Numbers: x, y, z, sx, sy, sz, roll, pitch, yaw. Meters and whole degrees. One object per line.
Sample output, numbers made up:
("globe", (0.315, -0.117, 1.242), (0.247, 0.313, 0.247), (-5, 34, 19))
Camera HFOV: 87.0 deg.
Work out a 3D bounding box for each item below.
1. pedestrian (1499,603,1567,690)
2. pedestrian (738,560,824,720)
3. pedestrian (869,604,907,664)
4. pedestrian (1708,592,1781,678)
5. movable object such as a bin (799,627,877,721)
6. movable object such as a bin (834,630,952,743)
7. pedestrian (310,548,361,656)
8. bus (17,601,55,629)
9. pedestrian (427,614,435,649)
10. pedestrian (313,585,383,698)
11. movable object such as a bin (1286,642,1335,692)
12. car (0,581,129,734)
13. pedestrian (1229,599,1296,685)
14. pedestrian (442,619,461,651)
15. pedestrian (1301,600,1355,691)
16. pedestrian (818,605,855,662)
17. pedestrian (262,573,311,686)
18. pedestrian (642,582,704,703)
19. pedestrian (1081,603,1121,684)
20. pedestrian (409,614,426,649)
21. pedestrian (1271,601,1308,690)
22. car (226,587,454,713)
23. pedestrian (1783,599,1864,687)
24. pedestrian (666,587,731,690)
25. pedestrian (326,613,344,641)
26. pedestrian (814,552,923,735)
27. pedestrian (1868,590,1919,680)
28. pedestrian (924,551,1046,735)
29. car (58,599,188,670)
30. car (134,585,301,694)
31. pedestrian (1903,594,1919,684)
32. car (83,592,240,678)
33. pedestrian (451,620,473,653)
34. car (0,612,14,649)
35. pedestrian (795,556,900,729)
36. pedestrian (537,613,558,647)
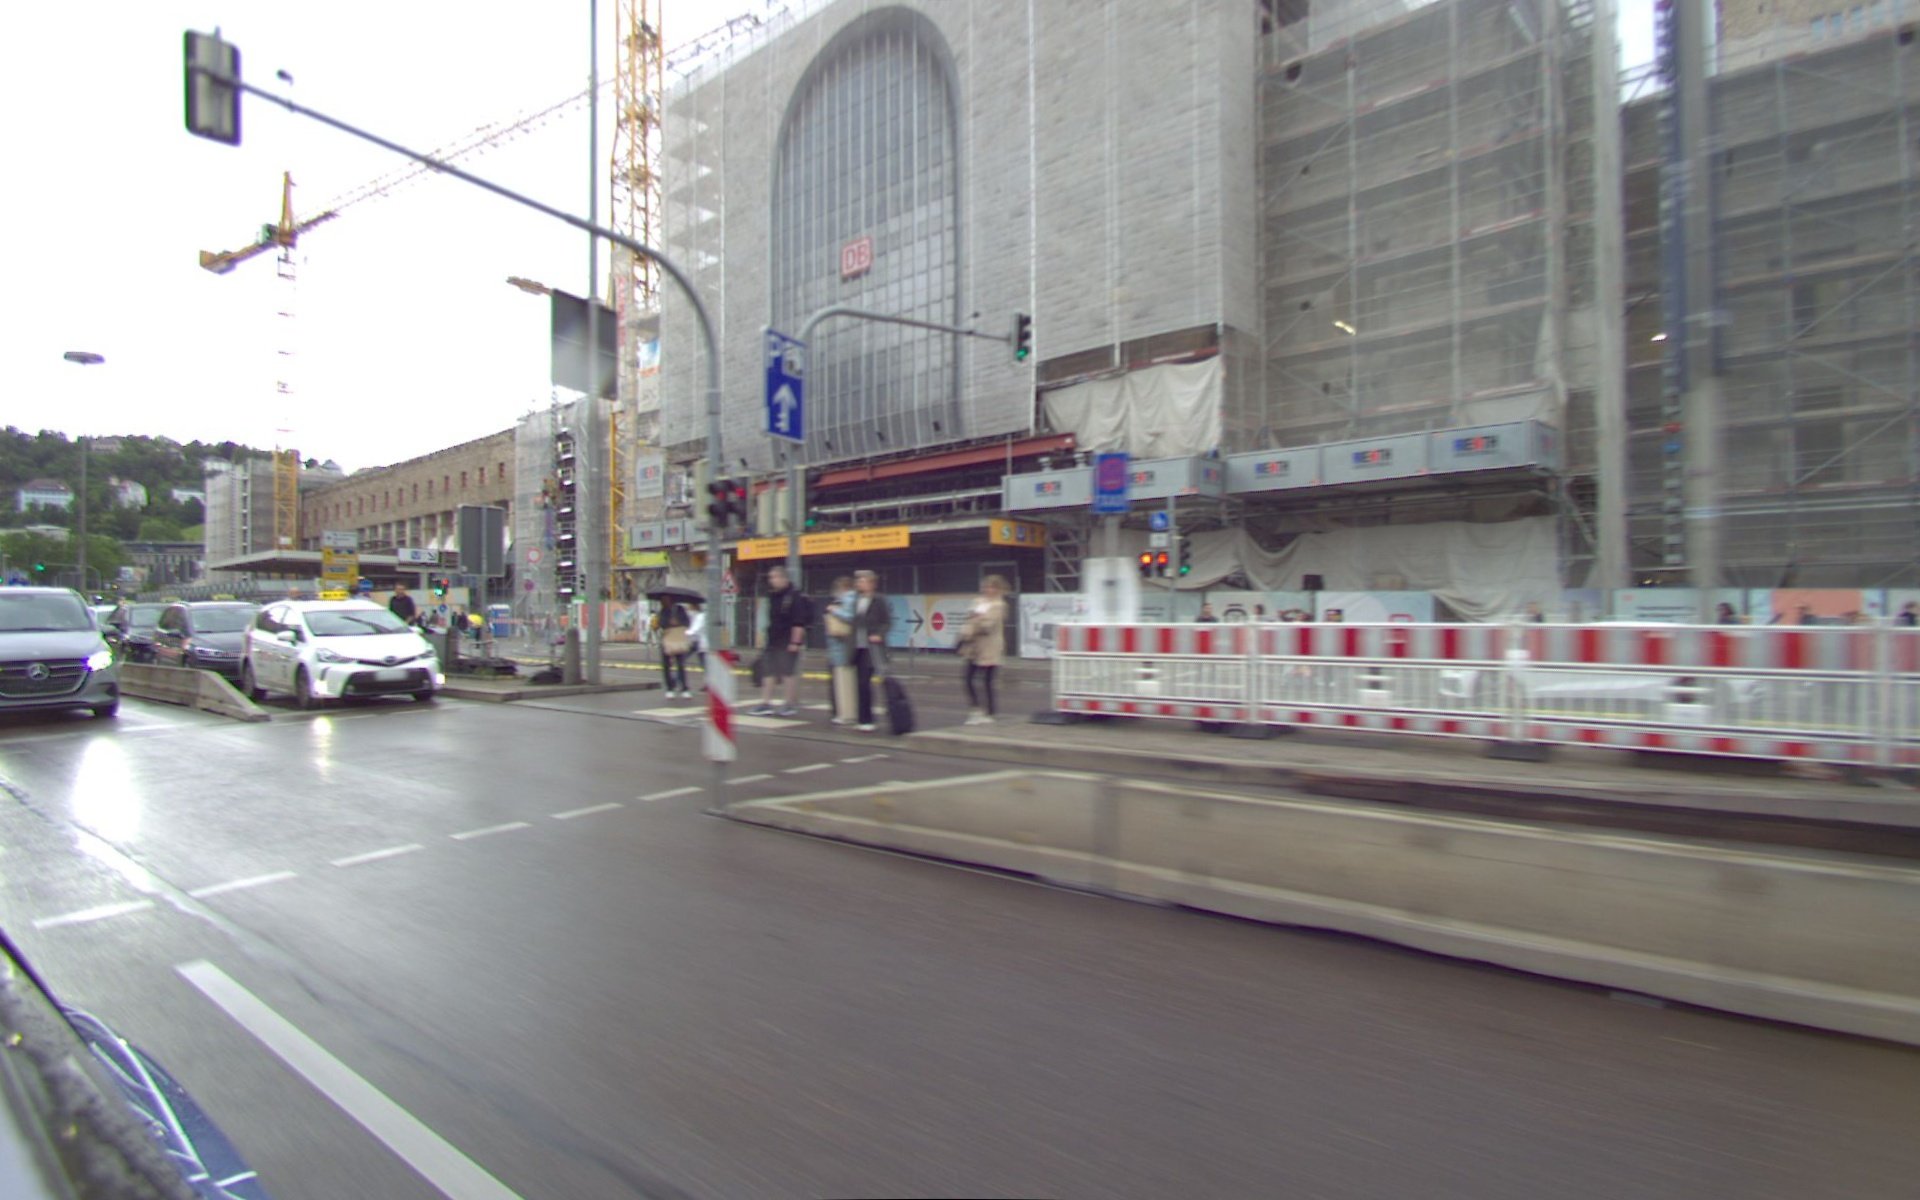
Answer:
("pedestrian", (12.238, 0.970, 21.613), (0.822, 1.802, 0.984), (1, -1, -32))
("pedestrian", (-2.218, 0.488, 12.569), (0.689, 1.900, 0.824), (-1, -1, 32))
("pedestrian", (-2.306, 1.068, 32.224), (0.993, 1.855, 0.719), (-1, -1, 41))
("pedestrian", (17.798, 0.793, 22.986), (0.821, 1.895, 1.031), (1, -1, -22))
("movable object such as a bin", (-1.492, 0.877, 12.305), (0.732, 1.084, 0.751), (0, -1, -26))
("movable object such as a bin", (-0.695, 0.854, 10.360), (0.989, 1.084, 0.751), (0, -1, -26))
("pedestrian", (-12.098, 0.049, 19.593), (0.836, 2.029, 0.615), (-1, -1, 41))
("bus", (-127.986, 2.113, 140.103), (19.086, 3.605, 2.876), (-1, -2, 45))
("pedestrian", (-28.247, 1.662, 54.070), (0.334, 1.855, 0.510), (0, -1, -32))
("pedestrian", (-11.399, 0.757, 18.881), (0.822, 2.029, 1.030), (0, -1, -11))
("movable object such as a bin", (7.211, 1.364, 20.815), (0.720, 0.977, 0.751), (-1, -1, 40))
("car", (-13.909, 0.759, 14.668), (5.247, 1.918, 1.973), (-1, 0, 40))
("pedestrian", (6.776, 0.919, 22.689), (0.969, 1.855, 1.044), (0, -1, -28))
("pedestrian", (-30.064, 2.080, 59.803), (0.793, 1.855, 0.851), (0, -1, -44))
("pedestrian", (7.728, 0.931, 21.255), (0.877, 1.855, 0.690), (-1, 0, 40))
("pedestrian", (-4.113, 1.103, 33.752), (0.936, 1.855, 0.810), (-1, -1, 41))
("pedestrian", (-12.440, 0.536, 18.686), (0.890, 2.029, 0.522), (-1, -1, 39))
("pedestrian", (-4.290, 0.624, 15.105), (0.756, 1.748, 0.577), (-1, -1, 41))
("pedestrian", (3.310, 1.001, 23.733), (0.639, 1.855, 0.766), (-1, -1, 36))
("pedestrian", (-29.075, 1.664, 54.265), (0.692, 1.855, 0.880), (0, -1, -19))
("pedestrian", (7.002, 0.950, 21.494), (0.528, 1.855, 0.690), (-1, -1, 39))
("car", (-9.837, 0.714, 15.898), (4.665, 1.698, 1.767), (-1, -1, 42))
("pedestrian", (17.108, 0.831, 20.084), (0.827, 1.676, 1.024), (1, -1, 12))
("pedestrian", (-4.398, 0.640, 17.014), (0.836, 1.677, 0.706), (-1, -1, 41))
("pedestrian", (-44.658, 1.925, 72.307), (0.863, 1.954, 0.735), (-1, 1, 38))
("pedestrian", (-1.004, 0.458, 11.036), (0.989, 1.900, 0.685), (0, -1, -26))
("pedestrian", (20.459, 0.748, 21.817), (0.822, 1.895, 1.031), (1, -1, -20))
("pedestrian", (0.271, 0.448, 11.073), (1.028, 1.895, 0.824), (-2, -1, 44))
("car", (-23.116, 0.918, 27.899), (4.450, 1.800, 1.973), (-1, -1, 40))
("car", (-14.638, 0.727, 19.851), (4.608, 1.906, 1.695), (-1, -1, 41))
("pedestrian", (20.626, 0.821, 21.173), (0.822, 1.895, 1.031), (1, -1, -18))
("car", (-18.744, 0.780, 23.677), (4.844, 1.800, 1.973), (-1, -1, 41))
("pedestrian", (-28.222, 2.041, 57.359), (0.829, 1.855, 1.059), (0, -1, -44))
("car", (-46.932, 1.455, 48.373), (4.829, 1.719, 1.973), (-1, -1, 40))
("pedestrian", (-1.316, 0.474, 11.736), (0.989, 1.900, 0.820), (0, -1, -26))
("pedestrian", (-20.023, 1.457, 49.105), (0.839, 1.626, 0.669), (-1, -1, 44))
